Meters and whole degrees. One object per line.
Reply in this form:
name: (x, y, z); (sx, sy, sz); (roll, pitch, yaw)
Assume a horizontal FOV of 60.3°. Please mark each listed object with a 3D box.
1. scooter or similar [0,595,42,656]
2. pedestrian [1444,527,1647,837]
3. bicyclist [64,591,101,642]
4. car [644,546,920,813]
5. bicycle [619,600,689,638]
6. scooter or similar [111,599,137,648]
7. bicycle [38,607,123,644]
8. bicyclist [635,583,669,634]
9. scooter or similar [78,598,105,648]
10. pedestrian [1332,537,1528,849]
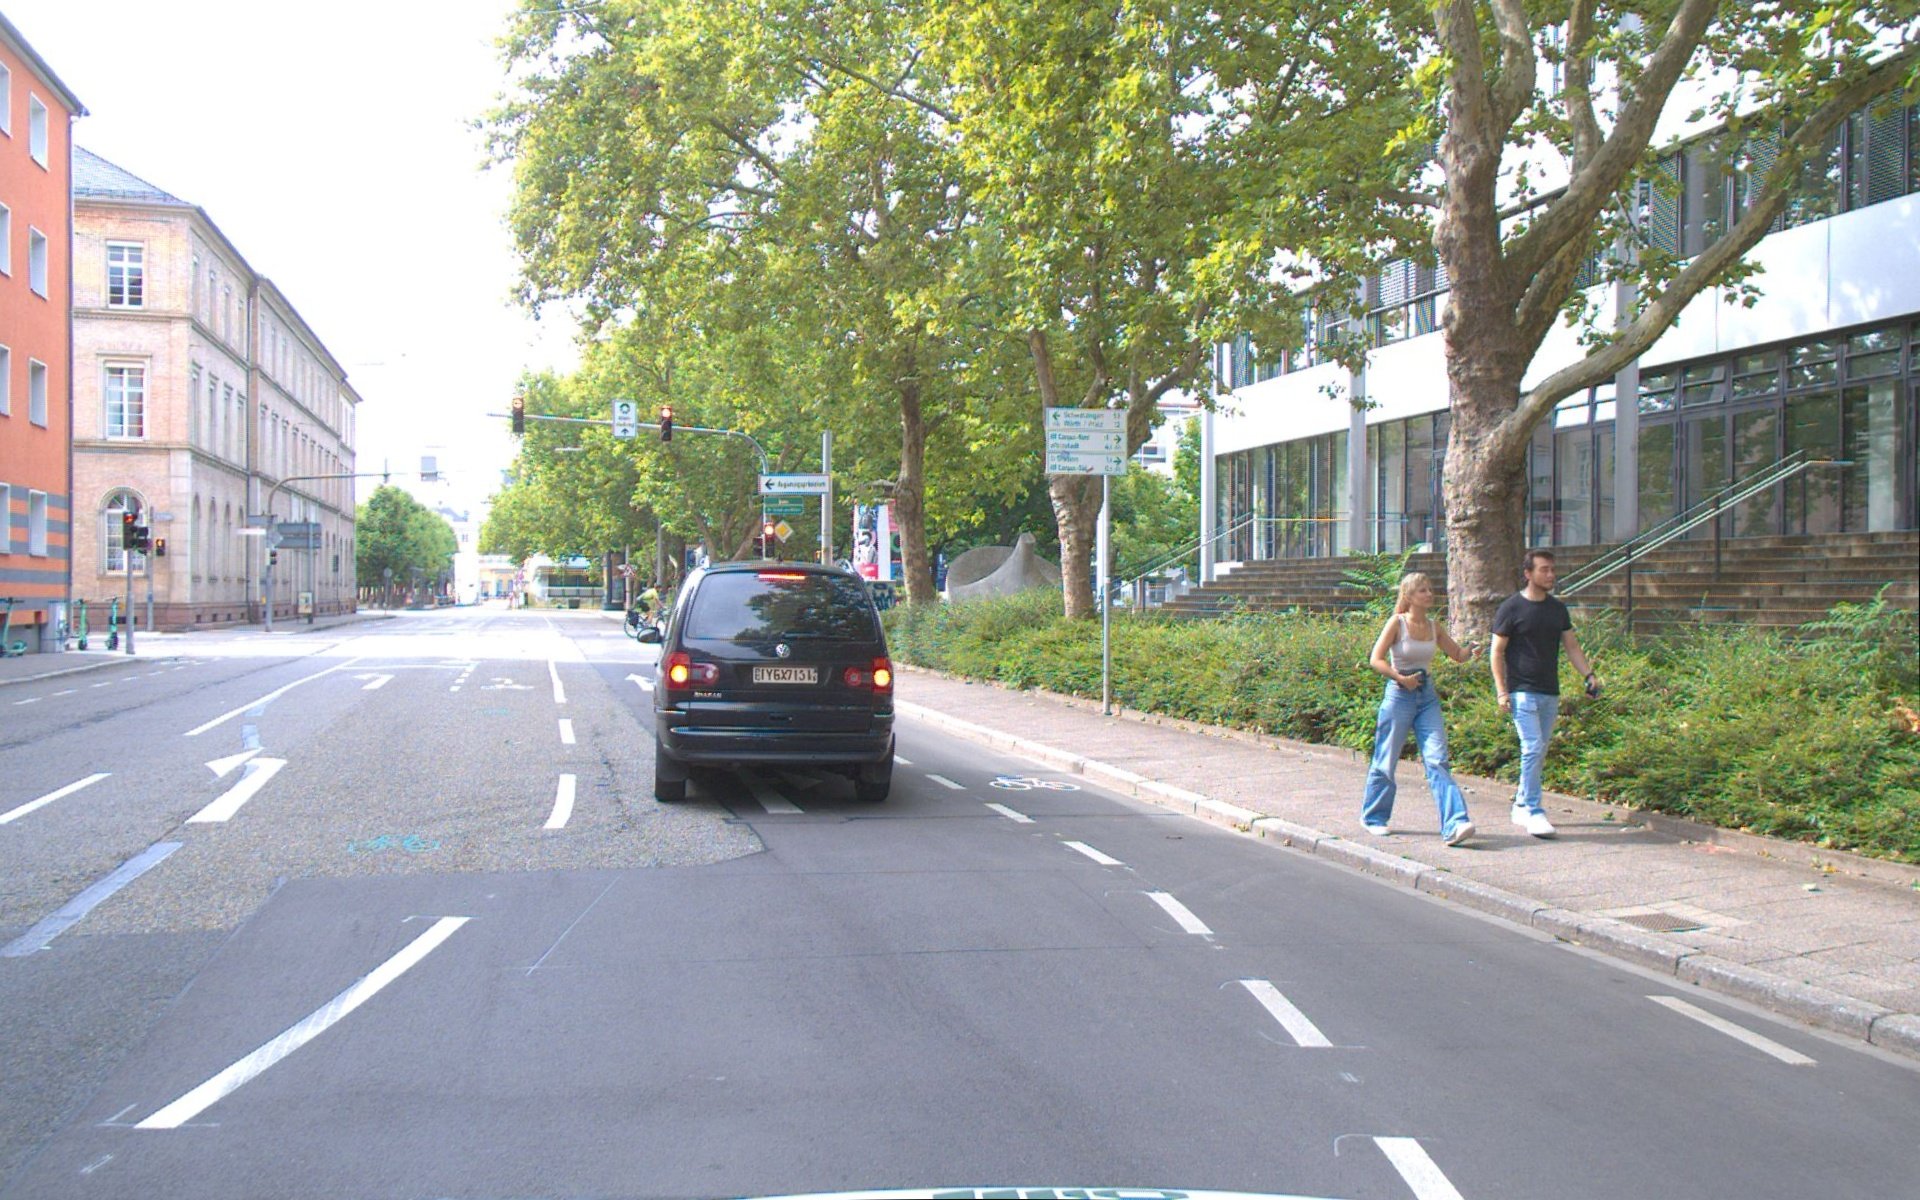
scooter or similar: (-18.849, 0.515, 33.213); (0.371, 1.204, 1.384); (0, -1, -15)
pedestrian: (3.672, 0.486, 10.446); (0.703, 1.831, 1.029); (-2, 0, -16)
bicyclist: (-26.834, 0.500, 50.563); (0.901, 1.519, 0.623); (0, 0, -19)
car: (-1.505, 0.520, 13.402); (1.839, 1.775, 4.565); (0, 0, -8)
bicycle: (-9.304, 0.574, 50.328); (1.995, 1.113, 0.622); (0, 0, -28)
scooter or similar: (-20.134, 0.562, 39.843); (0.372, 1.164, 1.136); (0, -1, -18)
bicycle: (-26.865, 0.774, 50.541); (2.201, 1.113, 0.624); (0, 0, -20)
bicyclist: (-9.365, 0.257, 50.296); (0.904, 1.541, 0.621); (0, 0, -27)
scooter or similar: (-20.558, 0.546, 39.165); (0.372, 1.167, 1.136); (0, -1, -18)
pedestrian: (2.897, 0.543, 10.281); (0.699, 1.814, 1.029); (-2, 0, -16)
